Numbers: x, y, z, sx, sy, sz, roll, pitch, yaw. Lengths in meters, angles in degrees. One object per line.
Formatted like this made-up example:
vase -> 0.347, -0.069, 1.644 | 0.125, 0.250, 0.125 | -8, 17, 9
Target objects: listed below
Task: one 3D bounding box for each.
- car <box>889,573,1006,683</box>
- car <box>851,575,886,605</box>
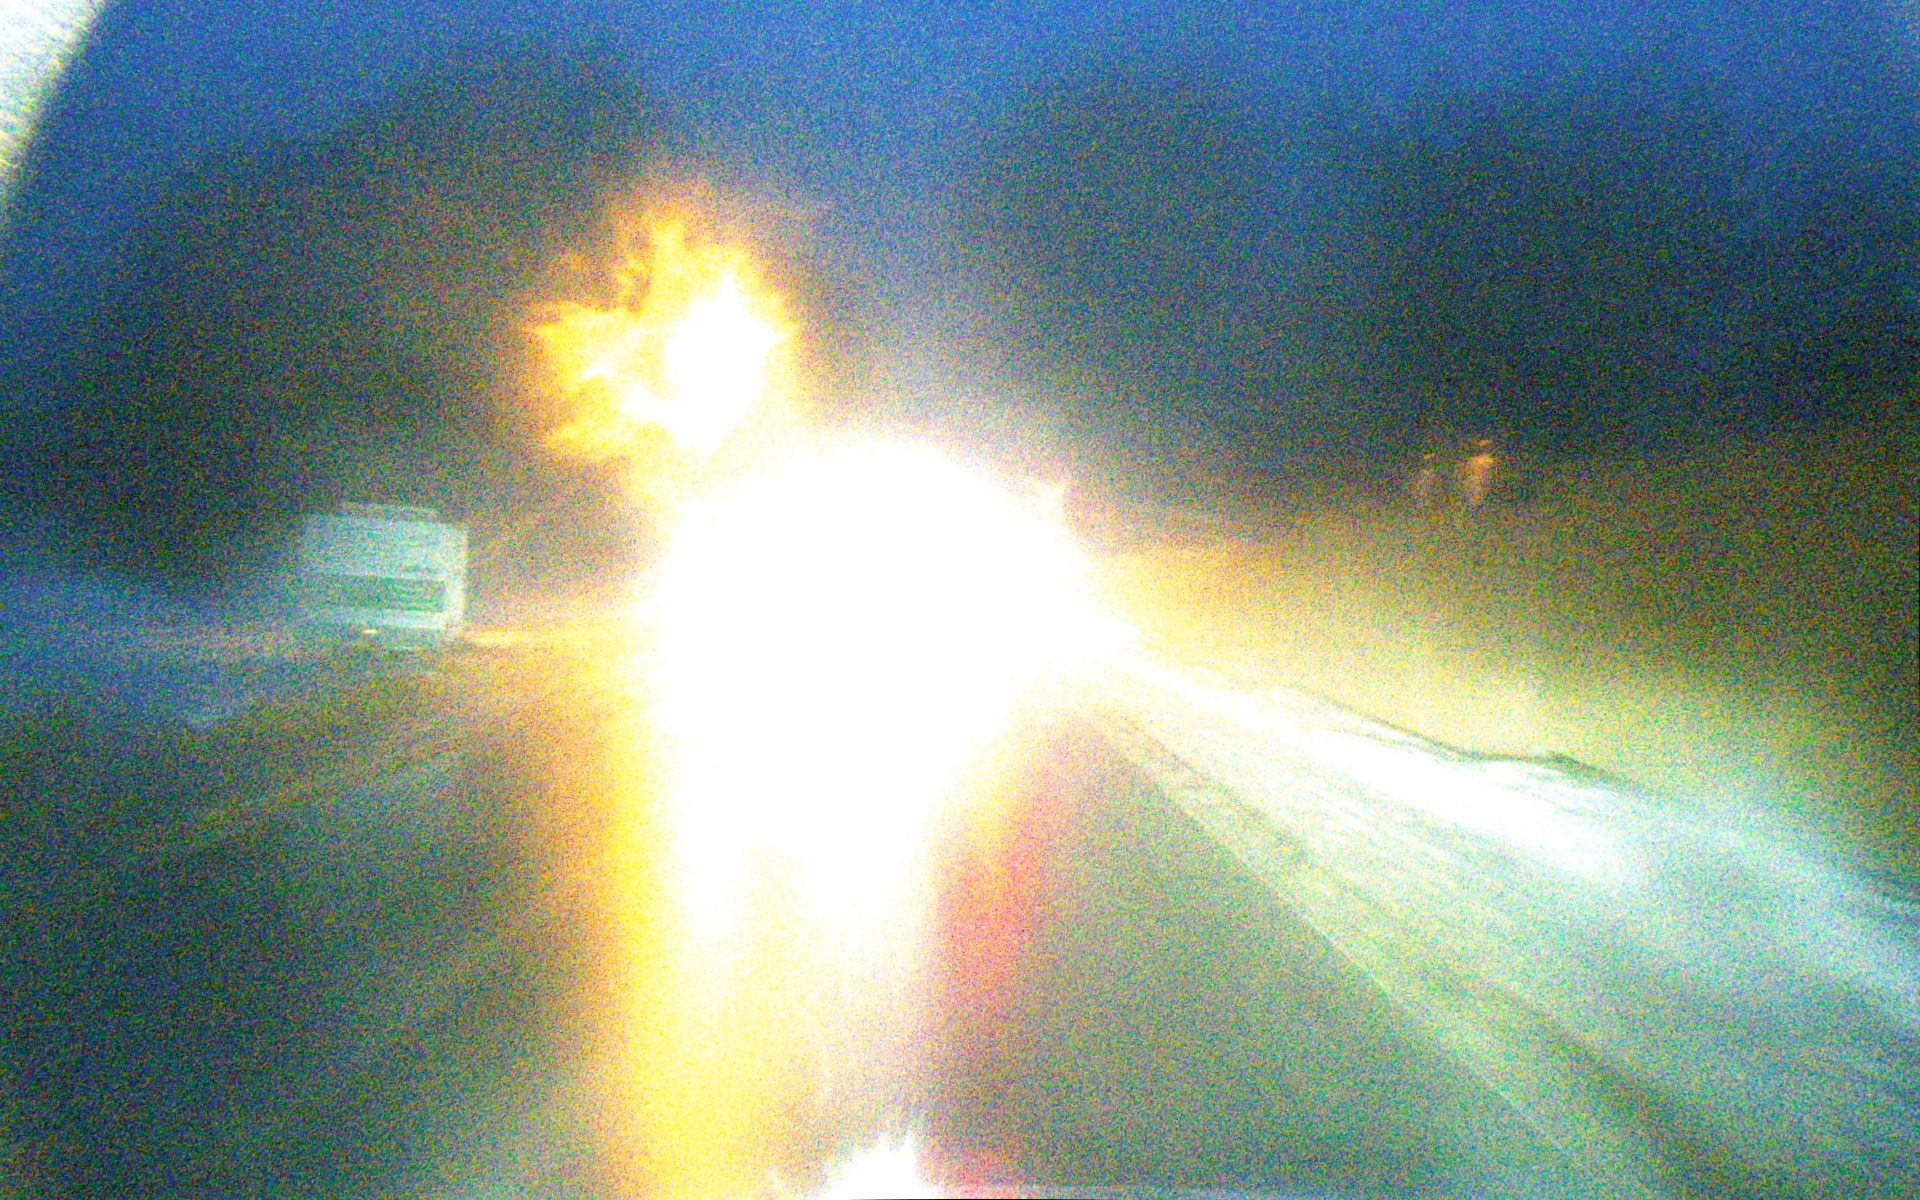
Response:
car -> -0.218, 0.454, 27.901 | 1.765, 1.657, 3.614 | 3, 0, -1
car -> -4.817, -0.528, 87.600 | 1.697, 1.545, 4.014 | 1, 0, -2
